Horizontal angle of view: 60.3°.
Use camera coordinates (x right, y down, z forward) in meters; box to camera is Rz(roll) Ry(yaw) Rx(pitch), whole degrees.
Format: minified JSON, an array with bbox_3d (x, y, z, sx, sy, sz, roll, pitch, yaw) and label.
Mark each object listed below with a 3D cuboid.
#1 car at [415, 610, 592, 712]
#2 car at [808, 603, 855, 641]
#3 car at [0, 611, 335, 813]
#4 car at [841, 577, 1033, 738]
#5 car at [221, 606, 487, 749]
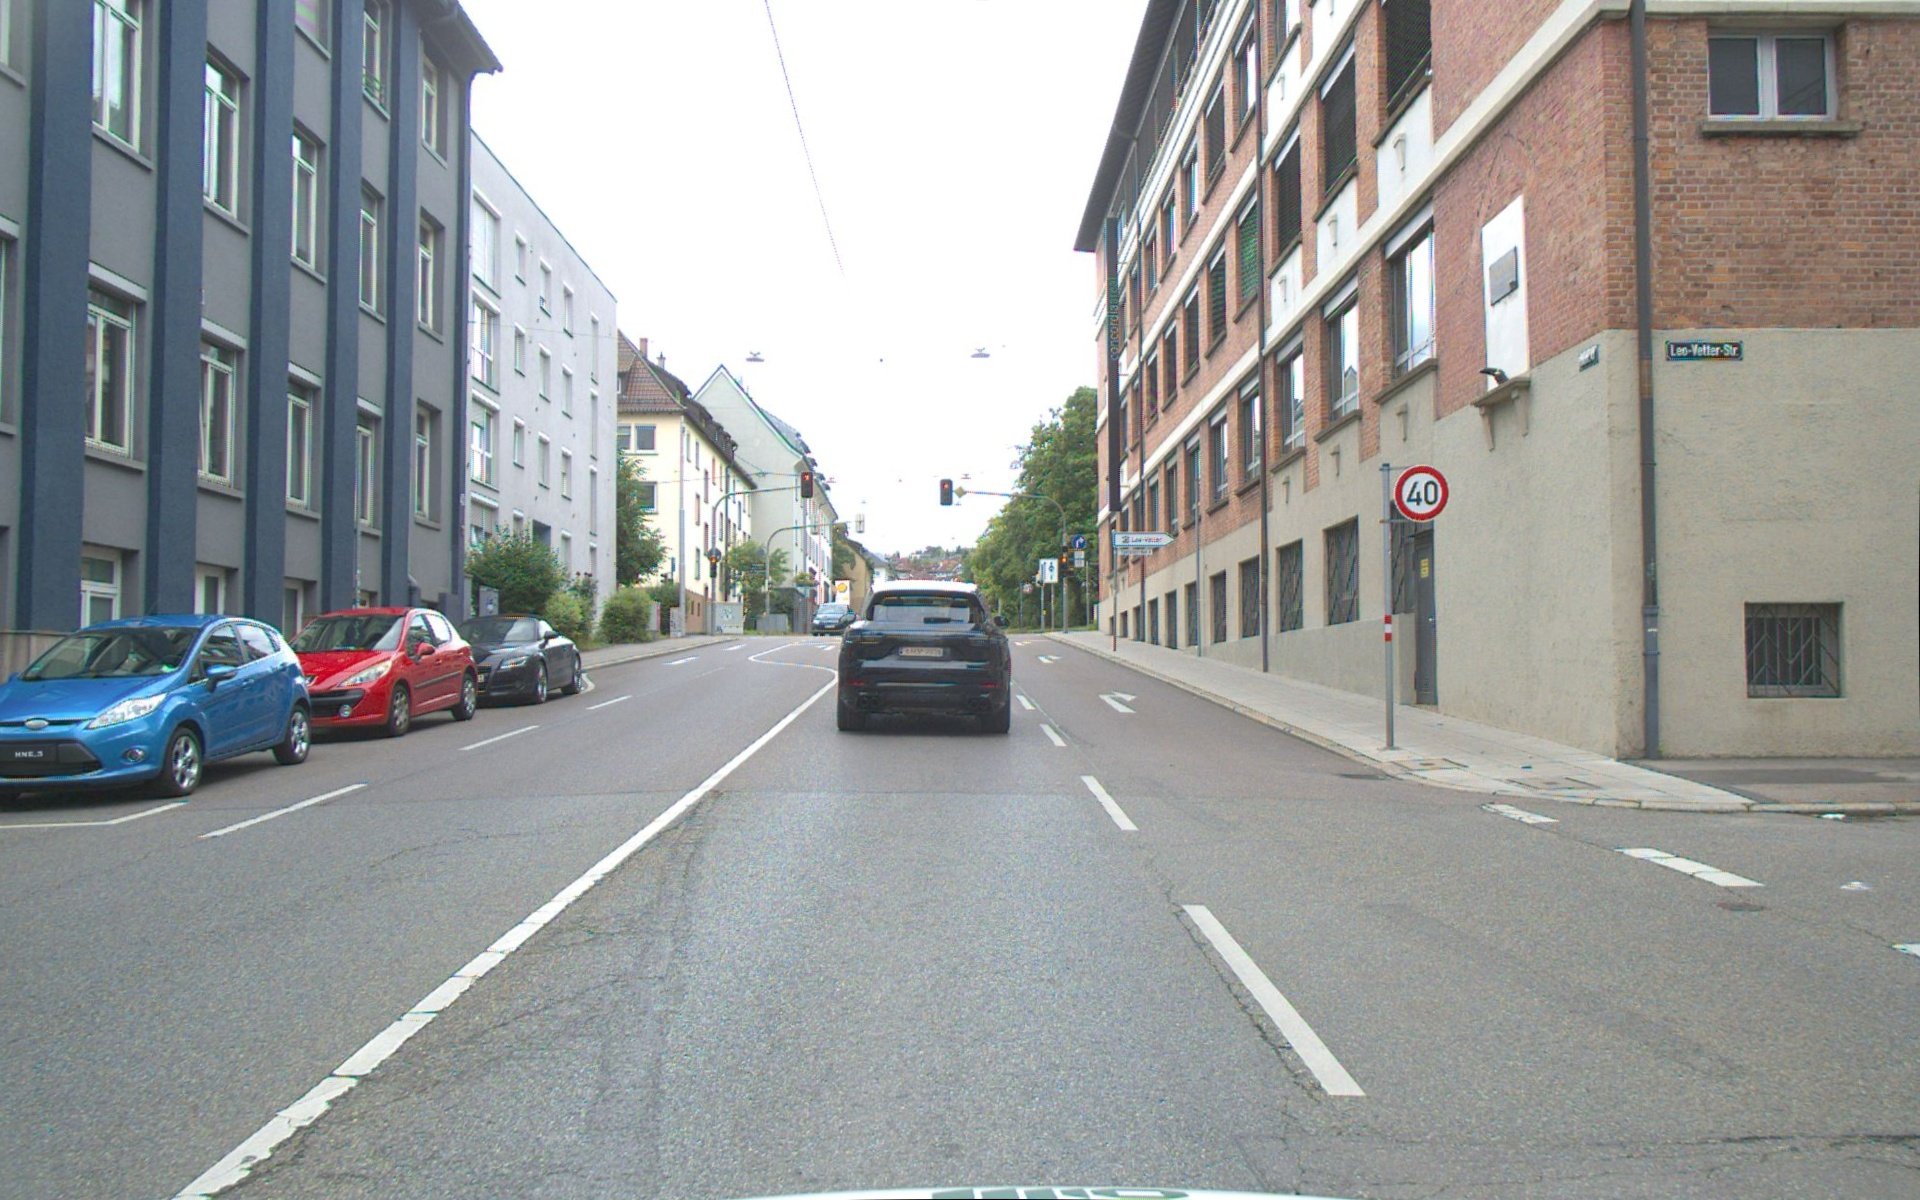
[{"bbox_3d":[-7.034,0.894,25.853,1.679,1.364,3.903,-2,0,-1],"label":"car"},{"bbox_3d":[-6.246,1.029,80.581,1.858,1.721,4.000,-2,0,1],"label":"car"},{"bbox_3d":[-7.131,0.884,14.650,1.679,1.448,3.988,-2,0,-1],"label":"car"},{"bbox_3d":[-0.396,0.620,19.773,1.984,1.670,4.351,1,0,-5],"label":"car"},{"bbox_3d":[-7.212,0.854,20.125,1.679,1.482,3.989,-2,0,0],"label":"car"}]
